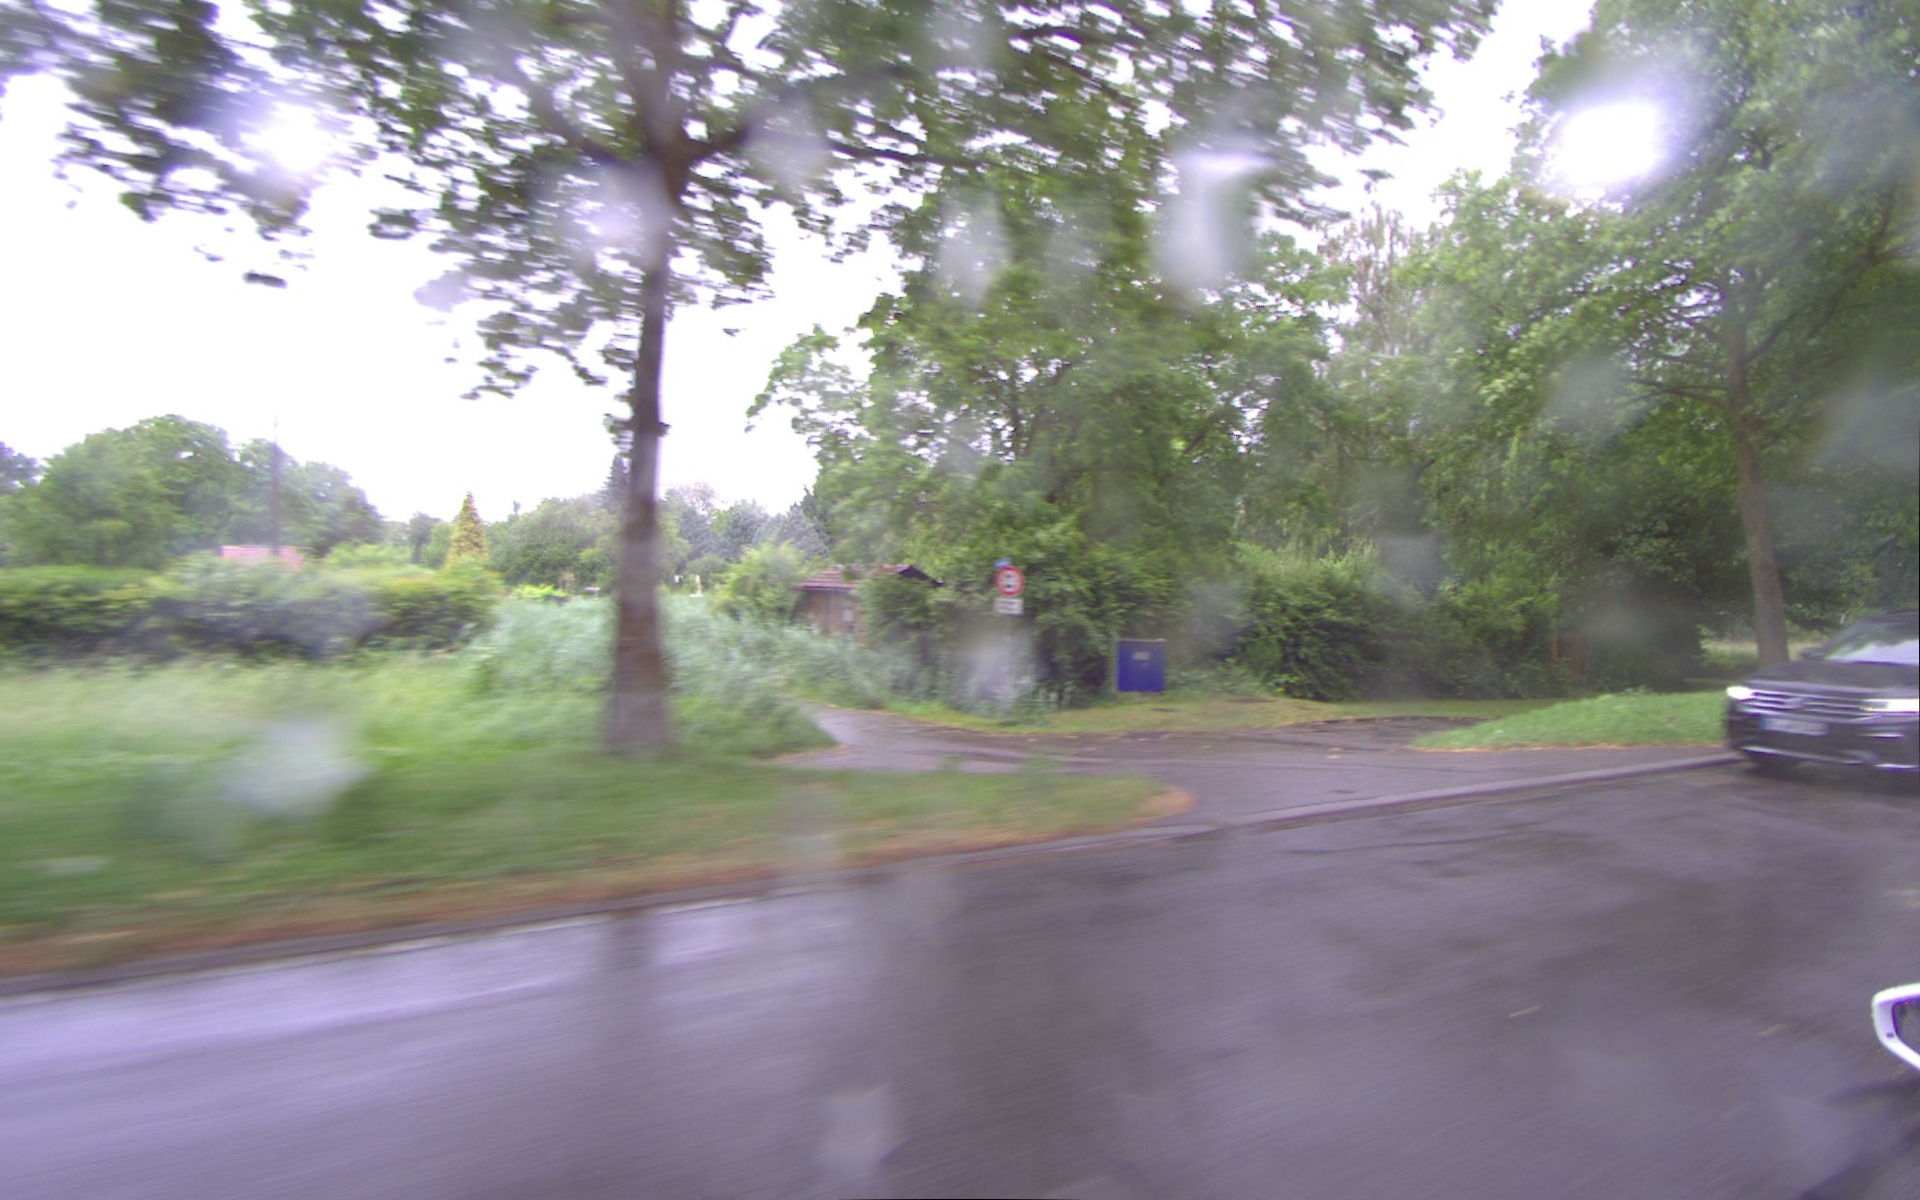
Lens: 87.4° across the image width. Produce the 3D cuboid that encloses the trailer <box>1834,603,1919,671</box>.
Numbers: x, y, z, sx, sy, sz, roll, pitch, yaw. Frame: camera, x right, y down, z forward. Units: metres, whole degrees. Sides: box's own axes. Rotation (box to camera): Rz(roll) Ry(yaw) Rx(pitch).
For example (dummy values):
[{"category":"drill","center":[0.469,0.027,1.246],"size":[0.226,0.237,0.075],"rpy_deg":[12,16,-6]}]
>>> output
[{"category":"trailer","center":[38.985,1.487,41.861],"size":[5.274,2.602,2.471],"rpy_deg":[1,1,-33]}]

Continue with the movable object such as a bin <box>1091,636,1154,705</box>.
[{"category":"movable object such as a bin","center":[3.613,1.542,22.366],"size":[0.955,1.441,0.957],"rpy_deg":[1,1,-32]}]

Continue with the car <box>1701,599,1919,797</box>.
[{"category":"car","center":[9.614,0.845,9.753],"size":[4.242,1.609,1.730],"rpy_deg":[1,1,-18]}]
